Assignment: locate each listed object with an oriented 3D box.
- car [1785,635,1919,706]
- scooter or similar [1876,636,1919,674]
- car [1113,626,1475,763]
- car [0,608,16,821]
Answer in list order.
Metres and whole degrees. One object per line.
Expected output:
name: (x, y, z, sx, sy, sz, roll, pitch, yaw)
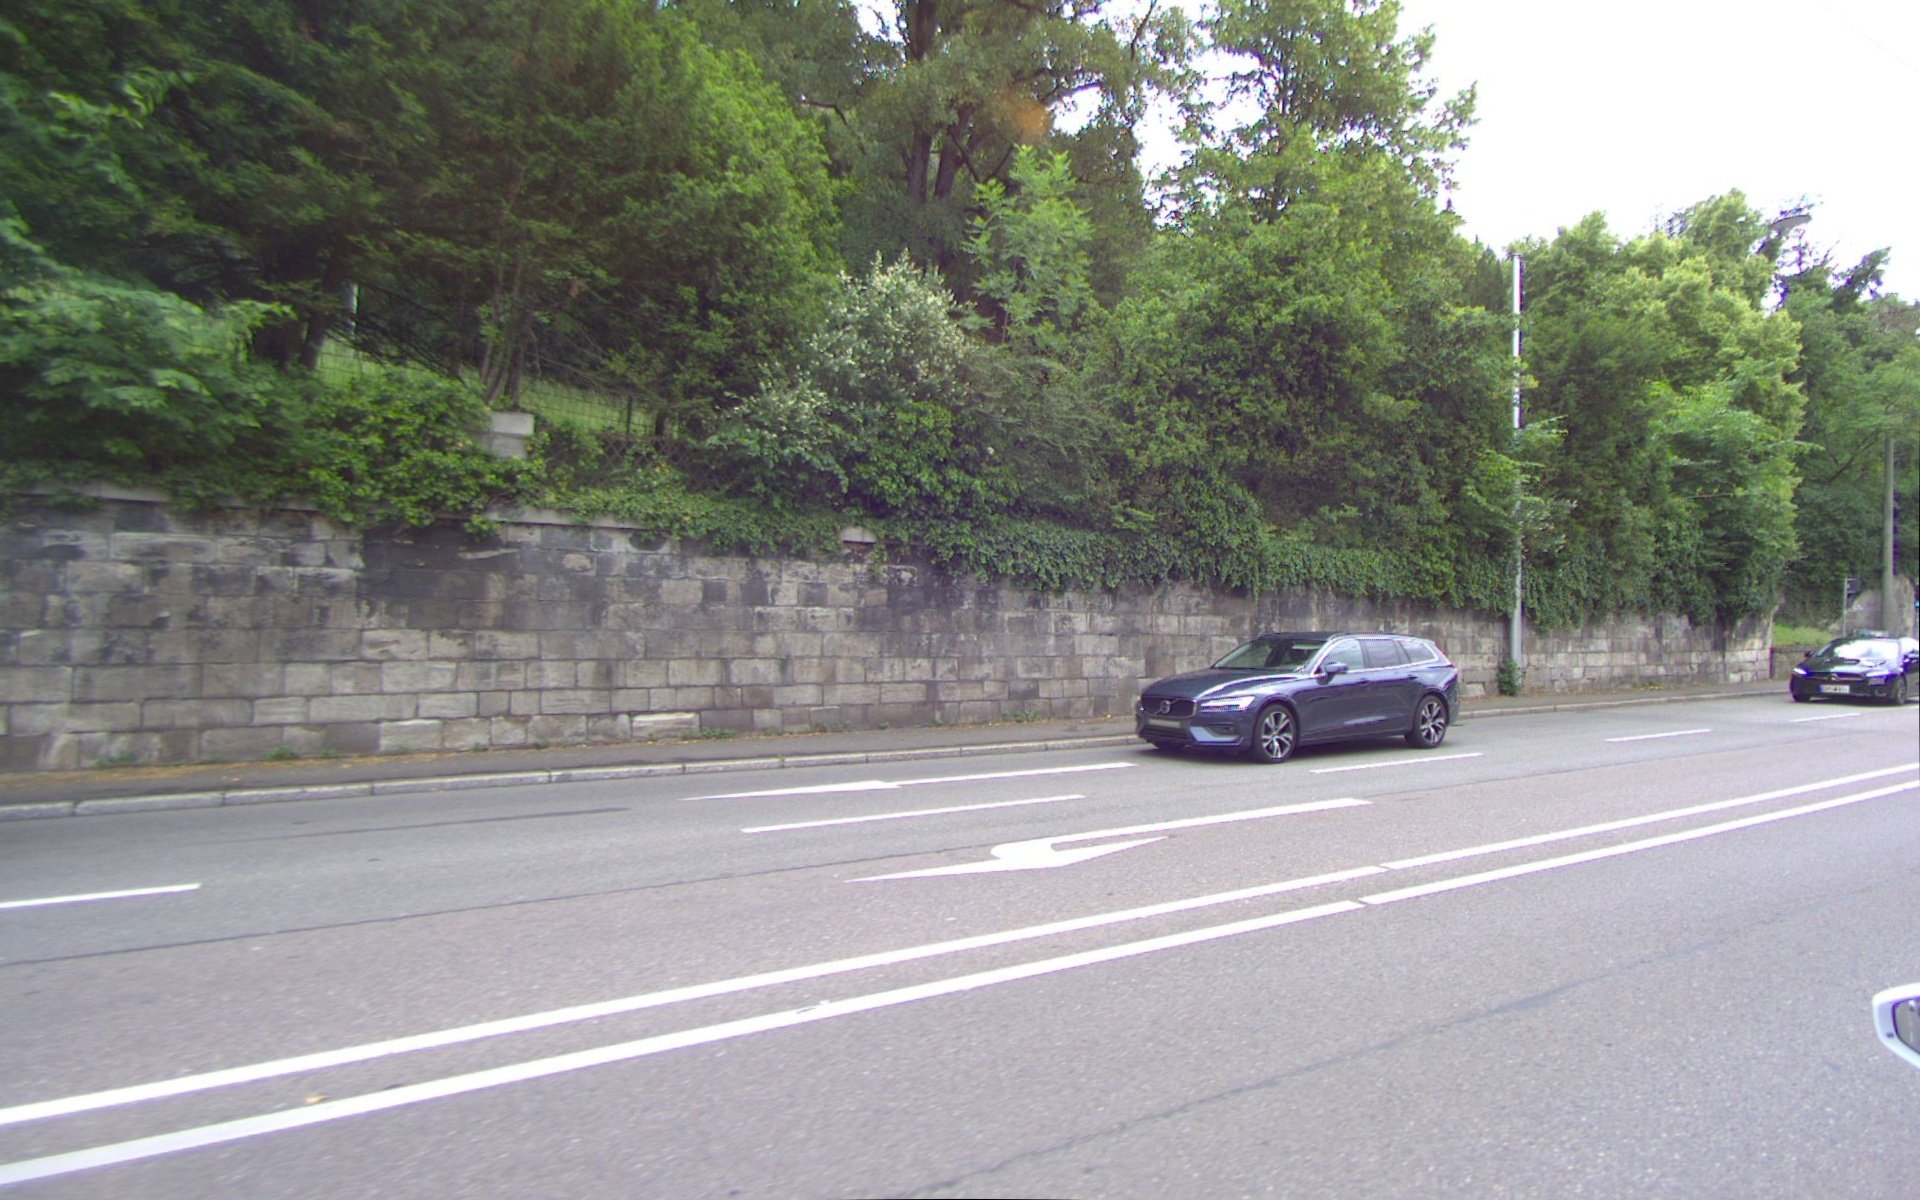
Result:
car: (19.866, 1.513, 21.961, 4.206, 1.420, 1.554, 2, -3, -32)
scooter or similar: (33.913, 1.967, 36.260, 1.076, 1.254, 0.434, 4, 2, 9)
car: (4.181, 1.081, 12.412, 4.404, 1.427, 1.834, 2, -3, -31)
car: (-7.901, 0.709, 5.232, 3.952, 1.455, 1.834, 2, -3, -30)
